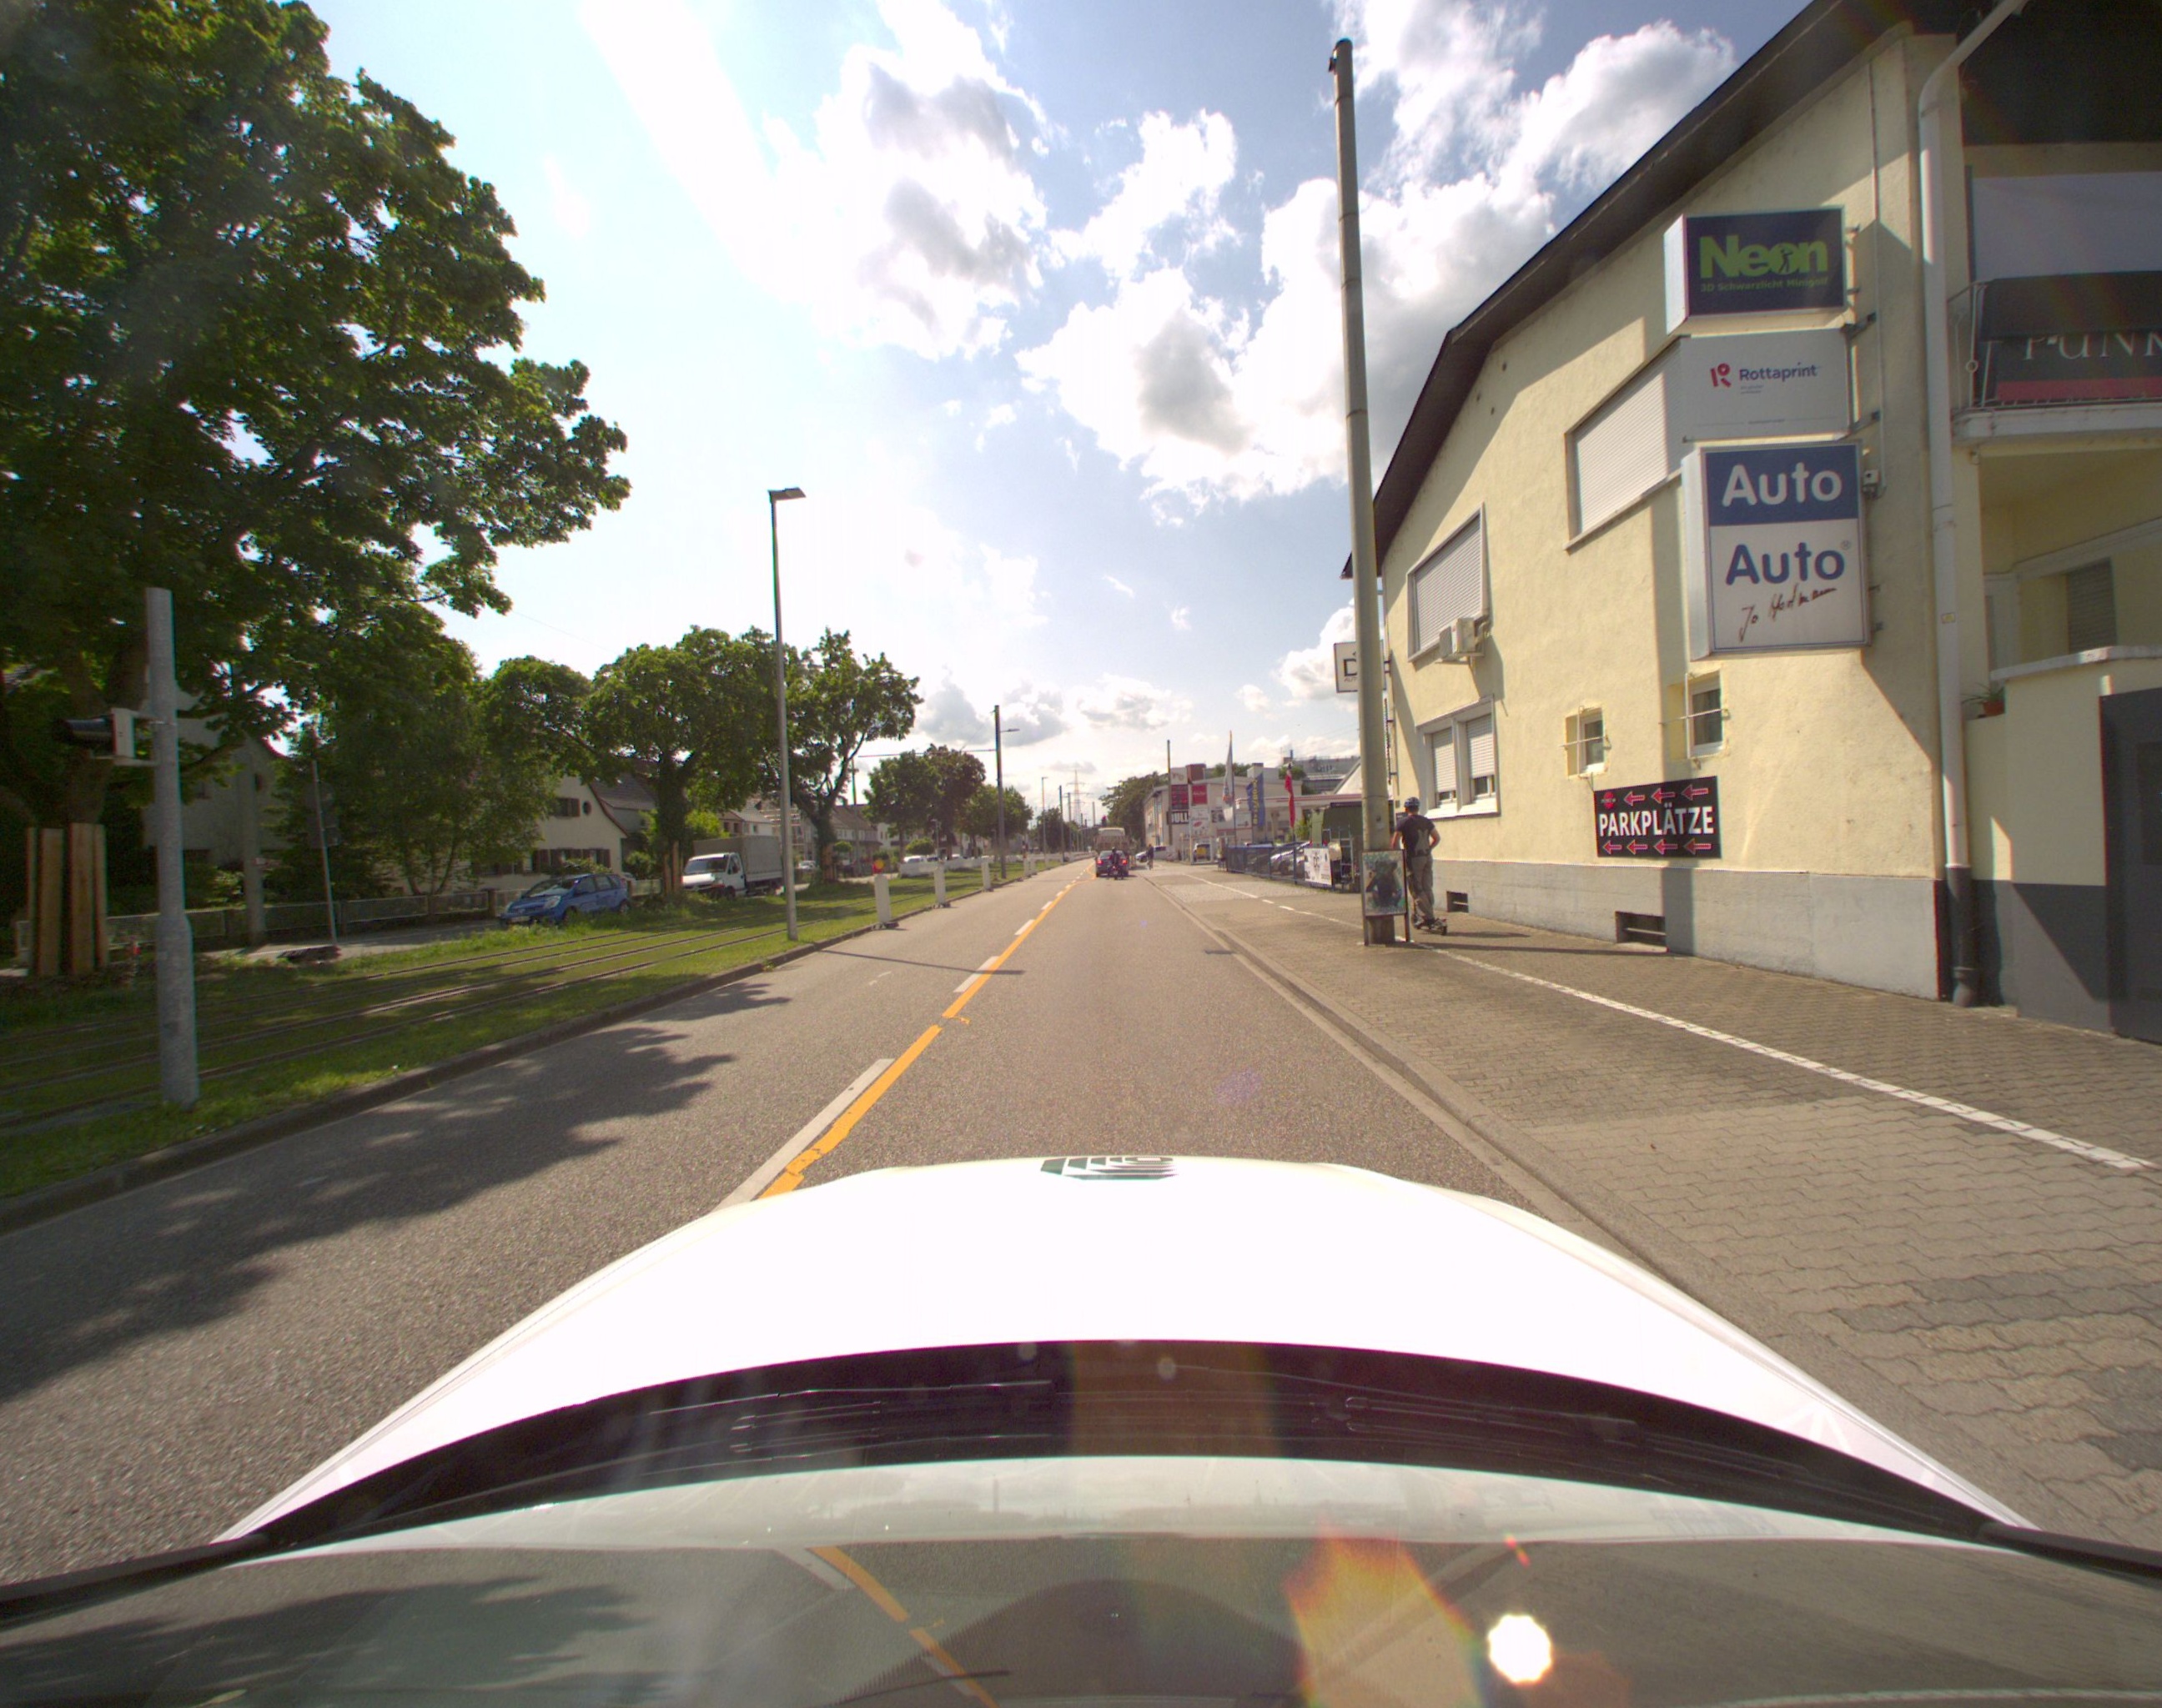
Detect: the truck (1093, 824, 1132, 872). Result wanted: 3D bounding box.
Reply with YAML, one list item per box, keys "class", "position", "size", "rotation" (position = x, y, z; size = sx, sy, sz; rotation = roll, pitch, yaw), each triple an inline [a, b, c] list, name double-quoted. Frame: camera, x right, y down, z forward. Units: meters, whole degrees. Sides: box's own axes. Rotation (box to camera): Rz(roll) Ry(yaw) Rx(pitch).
- class: "truck"
  position: [2.472, -0.563, 62.957]
  size: [2.600, 3.255, 9.189]
  rotation: [-3, 1, 3]

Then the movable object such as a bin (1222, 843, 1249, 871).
- class: "movable object such as a bin"
  position: [8.306, 0.173, 43.885]
  size: [1.251, 1.444, 0.824]
  rotation: [-3, -1, 2]

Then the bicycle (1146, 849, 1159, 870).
- class: "bicycle"
  position: [4.768, 0.360, 54.326]
  size: [0.690, 1.361, 2.419]
  rotation: [-3, 0, 2]

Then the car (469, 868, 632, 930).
- class: "car"
  position: [-15.106, 1.220, 23.484]
  size: [1.987, 1.453, 4.000]
  rotation: [-3, 0, 0]

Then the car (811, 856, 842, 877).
- class: "car"
  position: [-22.677, 1.097, 72.656]
  size: [1.678, 1.721, 3.032]
  rotation: [-3, 0, 2]

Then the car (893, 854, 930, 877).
- class: "car"
  position: [-13.889, 0.940, 66.914]
  size: [1.986, 1.750, 4.002]
  rotation: [-3, 0, 2]

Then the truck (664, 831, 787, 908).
- class: "truck"
  position: [-14.757, 0.541, 34.372]
  size: [1.986, 2.767, 6.279]
  rotation: [-6, 0, 2]

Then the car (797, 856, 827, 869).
- class: "car"
  position: [-25.000, 0.765, 75.771]
  size: [1.681, 1.052, 3.974]
  rotation: [-3, 0, -4]

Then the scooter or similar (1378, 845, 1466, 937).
- class: "scooter or similar"
  position: [4.856, 0.494, 11.695]
  size: [0.538, 1.195, 1.611]
  rotation: [-4, 0, 2]

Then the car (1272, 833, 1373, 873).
- class: "car"
  position: [10.300, -0.039, 34.832]
  size: [3.956, 1.496, 1.758]
  rotation: [-3, 0, 17]

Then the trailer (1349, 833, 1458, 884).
- class: "trailer"
  position: [9.847, 0.131, 25.002]
  size: [2.771, 1.333, 1.303]
  rotation: [-4, 0, 2]

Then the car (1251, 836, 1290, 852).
- class: "car"
  position: [21.640, -1.147, 93.309]
  size: [3.973, 1.648, 1.966]
  rotation: [-3, 0, 1]

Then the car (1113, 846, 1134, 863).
- class: "car"
  position: [3.926, 0.062, 75.791]
  size: [1.814, 1.464, 4.003]
  rotation: [-2, 0, 2]

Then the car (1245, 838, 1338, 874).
- class: "car"
  position: [9.761, 0.081, 37.698]
  size: [3.954, 1.442, 1.719]
  rotation: [-3, 0, 19]

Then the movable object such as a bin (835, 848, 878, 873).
- class: "movable object such as a bin"
  position: [-24.261, 0.707, 88.024]
  size: [4.351, 2.449, 1.777]
  rotation: [-3, 0, -20]

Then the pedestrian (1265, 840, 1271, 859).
- class: "pedestrian"
  position: [16.496, -0.410, 71.780]
  size: [0.395, 1.689, 0.486]
  rotation: [-3, -1, 3]

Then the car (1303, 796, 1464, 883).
- class: "car"
  position: [10.001, -0.462, 27.229]
  size: [4.517, 2.573, 2.153]
  rotation: [-3, 0, 3]

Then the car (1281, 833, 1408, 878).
- class: "car"
  position: [9.619, 0.063, 30.026]
  size: [4.159, 1.431, 1.825]
  rotation: [-3, 0, 8]

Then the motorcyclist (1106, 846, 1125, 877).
- class: "motorcyclist"
  position: [1.761, 0.380, 41.968]
  size: [0.936, 1.615, 1.205]
  rotation: [0, 0, 2]

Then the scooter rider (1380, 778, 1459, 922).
- class: "scooter rider"
  position: [4.892, -0.061, 11.822]
  size: [0.714, 1.963, 0.786]
  rotation: [-4, 0, 3]

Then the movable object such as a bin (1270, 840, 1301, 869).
- class: "movable object such as a bin"
  position: [10.993, 0.039, 43.732]
  size: [1.318, 1.444, 0.953]
  rotation: [-3, -1, -5]

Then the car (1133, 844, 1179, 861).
- class: "car"
  position: [7.697, -0.157, 83.914]
  size: [4.325, 1.551, 1.946]
  rotation: [-3, 0, -7]

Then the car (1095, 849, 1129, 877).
- class: "car"
  position: [1.761, 0.479, 46.627]
  size: [1.815, 1.424, 4.002]
  rotation: [-2, 0, 2]

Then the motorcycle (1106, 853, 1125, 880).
- class: "motorcycle"
  position: [1.767, 0.624, 42.148]
  size: [0.936, 1.320, 2.646]
  rotation: [0, 0, 2]

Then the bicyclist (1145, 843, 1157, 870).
- class: "bicyclist"
  position: [4.641, 0.162, 54.236]
  size: [0.669, 1.744, 0.814]
  rotation: [-3, 0, 1]

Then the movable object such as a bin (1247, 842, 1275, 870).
- class: "movable object such as a bin"
  position: [9.671, 0.105, 43.739]
  size: [1.251, 1.444, 0.824]
  rotation: [-3, -1, 2]

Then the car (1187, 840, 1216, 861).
- class: "car"
  position: [10.767, -0.299, 73.208]
  size: [1.953, 1.648, 3.999]
  rotation: [-3, 0, 0]
